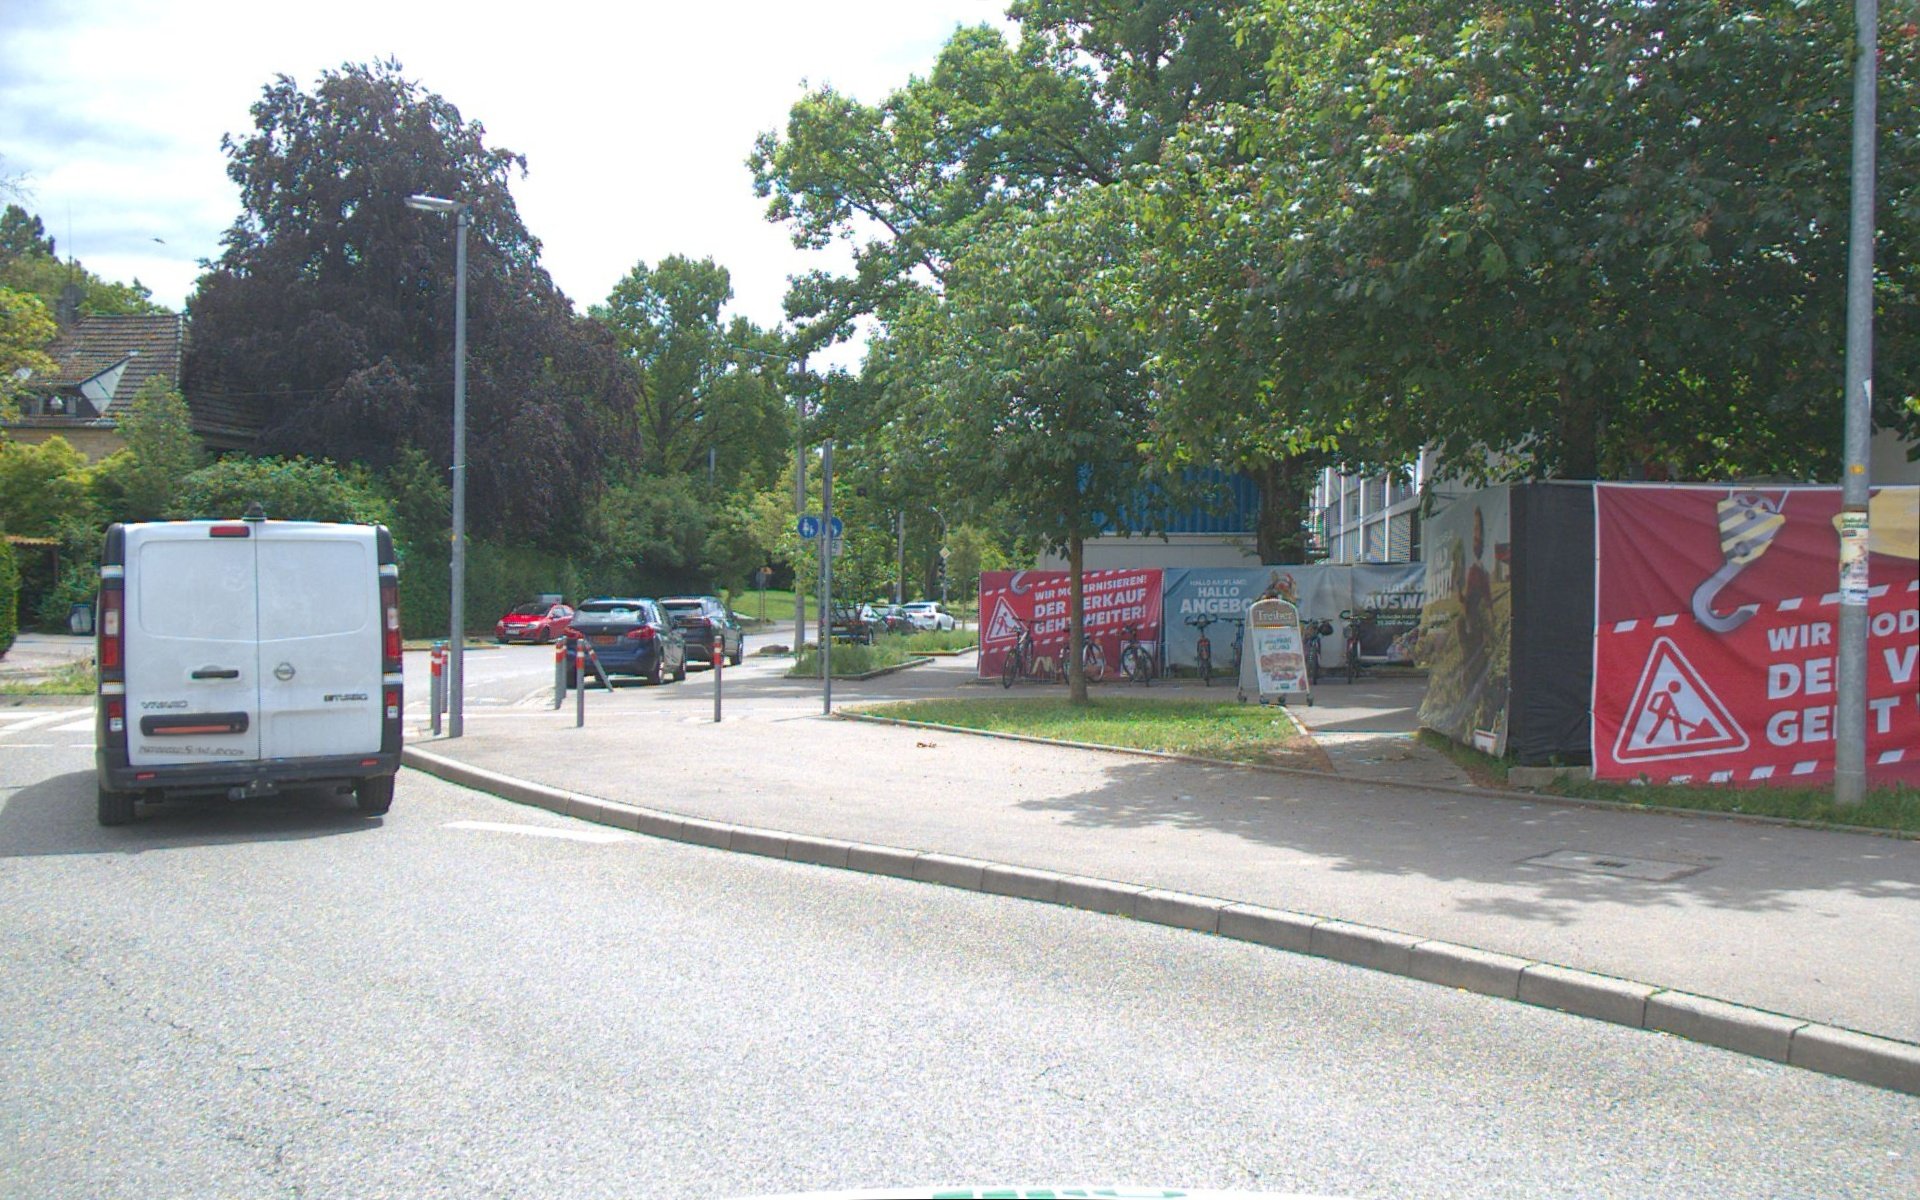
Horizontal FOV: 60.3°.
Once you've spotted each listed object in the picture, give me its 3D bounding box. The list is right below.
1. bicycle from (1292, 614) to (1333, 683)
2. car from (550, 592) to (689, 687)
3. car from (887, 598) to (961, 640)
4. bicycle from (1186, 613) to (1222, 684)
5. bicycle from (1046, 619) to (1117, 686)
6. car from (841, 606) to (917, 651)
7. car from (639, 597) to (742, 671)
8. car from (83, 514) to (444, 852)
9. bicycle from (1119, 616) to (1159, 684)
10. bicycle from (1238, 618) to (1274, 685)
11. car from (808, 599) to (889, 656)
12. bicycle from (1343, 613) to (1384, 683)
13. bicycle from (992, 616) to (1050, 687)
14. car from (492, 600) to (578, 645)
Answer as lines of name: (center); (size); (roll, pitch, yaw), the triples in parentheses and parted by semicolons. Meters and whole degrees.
bicycle: (6.078, 0.817, 28.551); (0.616, 1.067, 1.971); (2, 1, 11)
car: (-6.292, 0.680, 30.951); (1.893, 1.564, 3.924); (1, 1, -2)
car: (-1.435, 0.746, 67.502); (2.019, 1.526, 3.928); (1, 1, 15)
bicycle: (4.268, 0.821, 28.865); (0.518, 1.113, 2.073); (2, 1, 10)
bicycle: (2.151, 0.893, 28.996); (0.617, 1.067, 2.071); (3, 1, 22)
car: (-3.022, 1.041, 62.412); (2.019, 1.502, 3.929); (1, 1, 10)
car: (-6.245, 0.759, 38.757); (1.881, 1.526, 3.924); (1, 1, -2)
car: (-5.397, 0.400, 12.434); (2.011, 1.979, 4.950); (2, 2, -28)
bicycle: (3.117, 0.847, 28.854); (0.616, 1.067, 2.073); (2, 1, 6)
bicycle: (5.165, 0.880, 28.889); (0.528, 1.067, 1.971); (2, 1, 9)
car: (-3.786, 0.919, 56.857); (1.857, 1.775, 3.929); (1, 1, 10)
bicycle: (6.833, 0.795, 28.071); (0.616, 1.082, 1.971); (2, 1, 13)
bicycle: (1.096, 0.886, 29.273); (0.616, 1.147, 1.971); (2, 1, 13)
car: (-15.037, 0.785, 58.663); (2.021, 1.410, 4.047); (1, 1, -1)
